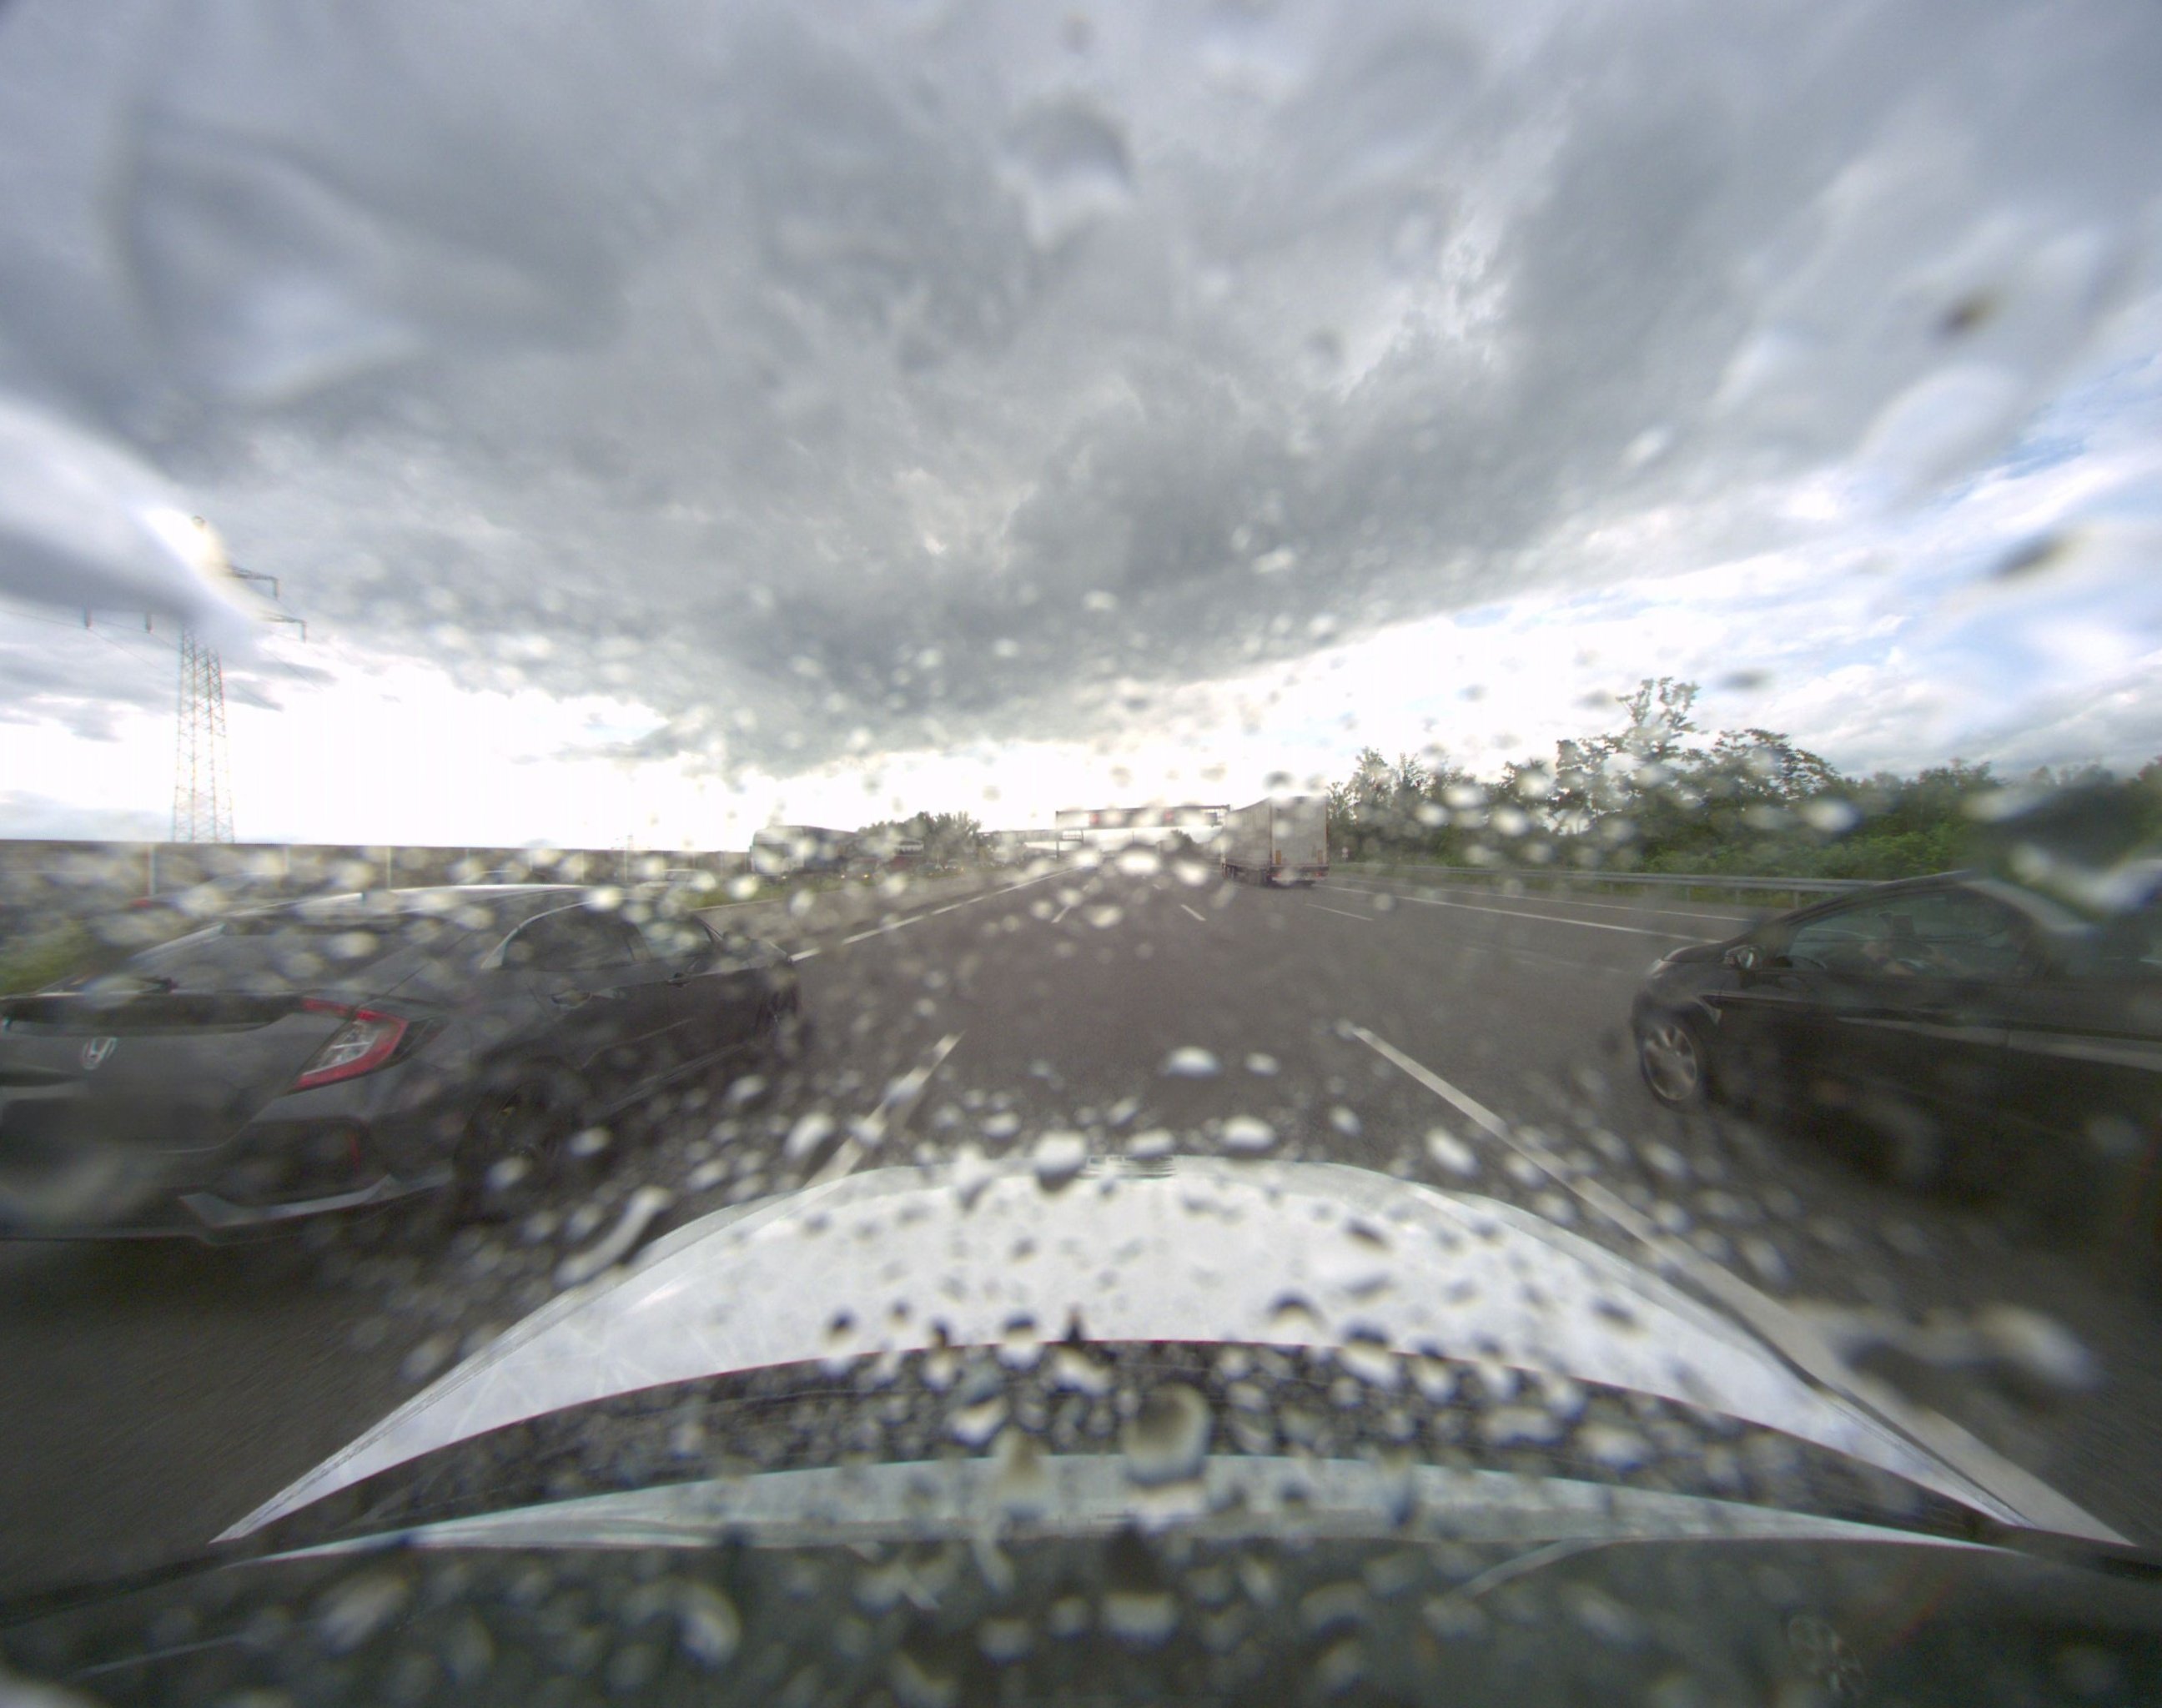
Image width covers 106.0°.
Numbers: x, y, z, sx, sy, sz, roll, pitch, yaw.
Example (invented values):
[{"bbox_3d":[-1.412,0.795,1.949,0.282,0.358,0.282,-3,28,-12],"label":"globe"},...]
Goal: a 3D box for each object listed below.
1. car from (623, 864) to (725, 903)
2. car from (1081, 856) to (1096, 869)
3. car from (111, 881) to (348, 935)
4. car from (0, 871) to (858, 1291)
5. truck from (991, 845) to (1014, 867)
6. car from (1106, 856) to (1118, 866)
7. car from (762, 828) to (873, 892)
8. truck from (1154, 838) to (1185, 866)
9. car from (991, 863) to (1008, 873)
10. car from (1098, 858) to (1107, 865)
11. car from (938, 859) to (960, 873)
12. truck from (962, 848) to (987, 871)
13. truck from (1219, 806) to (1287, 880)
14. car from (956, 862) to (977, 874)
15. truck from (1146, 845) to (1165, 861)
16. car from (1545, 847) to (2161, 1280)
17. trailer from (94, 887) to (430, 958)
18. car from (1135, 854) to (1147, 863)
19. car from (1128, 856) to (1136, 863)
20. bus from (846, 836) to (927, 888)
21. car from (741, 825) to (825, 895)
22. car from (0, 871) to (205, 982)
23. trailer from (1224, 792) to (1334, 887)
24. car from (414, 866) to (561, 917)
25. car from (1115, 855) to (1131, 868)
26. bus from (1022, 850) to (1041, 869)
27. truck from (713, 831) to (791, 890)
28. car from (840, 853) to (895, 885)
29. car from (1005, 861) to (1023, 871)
[{"bbox_3d":[-16.613,1.176,33.540,1.781,1.455,4.566,0,0,2],"label":"car"},{"bbox_3d":[0.909,1.001,96.696,1.766,1.441,3.875,-1,0,1],"label":"car"},{"bbox_3d":[-23.718,1.440,22.998,1.781,1.243,4.566,0,0,2],"label":"car"},{"bbox_3d":[-3.171,0.861,5.422,1.753,1.369,5.063,-1,0,2],"label":"car"},{"bbox_3d":[-14.486,0.455,150.295,2.872,3.961,7.545,0,0,5],"label":"truck"},{"bbox_3d":[4.686,1.099,122.820,1.766,1.441,4.056,-1,0,1],"label":"car"},{"bbox_3d":[-18.692,0.407,59.203,2.971,4.124,14.400,0,0,2],"label":"car"},{"bbox_3d":[14.389,-0.264,133.618,4.164,4.288,12.618,0,0,2],"label":"truck"},{"bbox_3d":[-12.212,2.071,122.205,1.781,1.381,4.862,0,0,2],"label":"car"},{"bbox_3d":[4.579,1.533,175.726,1.766,1.441,4.055,-1,0,0],"label":"car"},{"bbox_3d":[-16.510,1.469,102.083,1.784,1.739,4.579,0,0,2],"label":"car"},{"bbox_3d":[-19.167,1.036,146.940,3.016,3.933,7.717,-2,-1,3],"label":"truck"},{"bbox_3d":[10.029,-0.618,48.106,2.949,4.020,6.594,-1,0,3],"label":"truck"},{"bbox_3d":[-14.266,1.675,101.614,1.710,1.426,4.862,0,0,2],"label":"car"},{"bbox_3d":[19.472,-0.259,213.578,4.227,4.176,11.997,0,0,3],"label":"truck"},{"bbox_3d":[4.073,0.705,4.323,1.442,1.441,3.164,-1,0,1],"label":"car"},{"bbox_3d":[-16.473,1.314,16.877,2.085,1.070,4.760,0,0,1],"label":"trailer"},{"bbox_3d":[9.891,0.721,133.600,1.828,1.441,4.058,-1,0,2],"label":"car"},{"bbox_3d":[11.805,1.258,189.979,1.828,1.441,4.058,-1,0,2],"label":"car"},{"bbox_3d":[-14.839,0.580,63.550,2.879,3.611,12.764,0,0,2],"label":"bus"},{"bbox_3d":[-18.904,0.373,52.066,2.971,4.150,6.044,0,0,2],"label":"car"},{"bbox_3d":[-16.523,1.080,12.202,1.781,1.562,4.565,0,0,1],"label":"car"},{"bbox_3d":[9.672,-0.622,41.826,2.949,4.020,14.130,-1,0,3],"label":"trailer"},{"bbox_3d":[-20.355,1.222,28.216,1.781,1.591,4.387,0,0,2],"label":"car"},{"bbox_3d":[4.884,0.873,94.620,1.766,1.441,4.056,-1,0,1],"label":"car"},{"bbox_3d":[-10.055,1.076,166.550,2.642,3.679,10.644,-2,-1,4],"label":"bus"},{"bbox_3d":[-24.210,0.488,60.371,2.889,4.116,6.625,0,0,2],"label":"truck"},{"bbox_3d":[-11.724,0.814,45.069,1.781,1.666,4.298,0,0,2],"label":"car"},{"bbox_3d":[-8.919,1.582,108.532,1.781,1.381,4.862,0,0,2],"label":"car"}]
